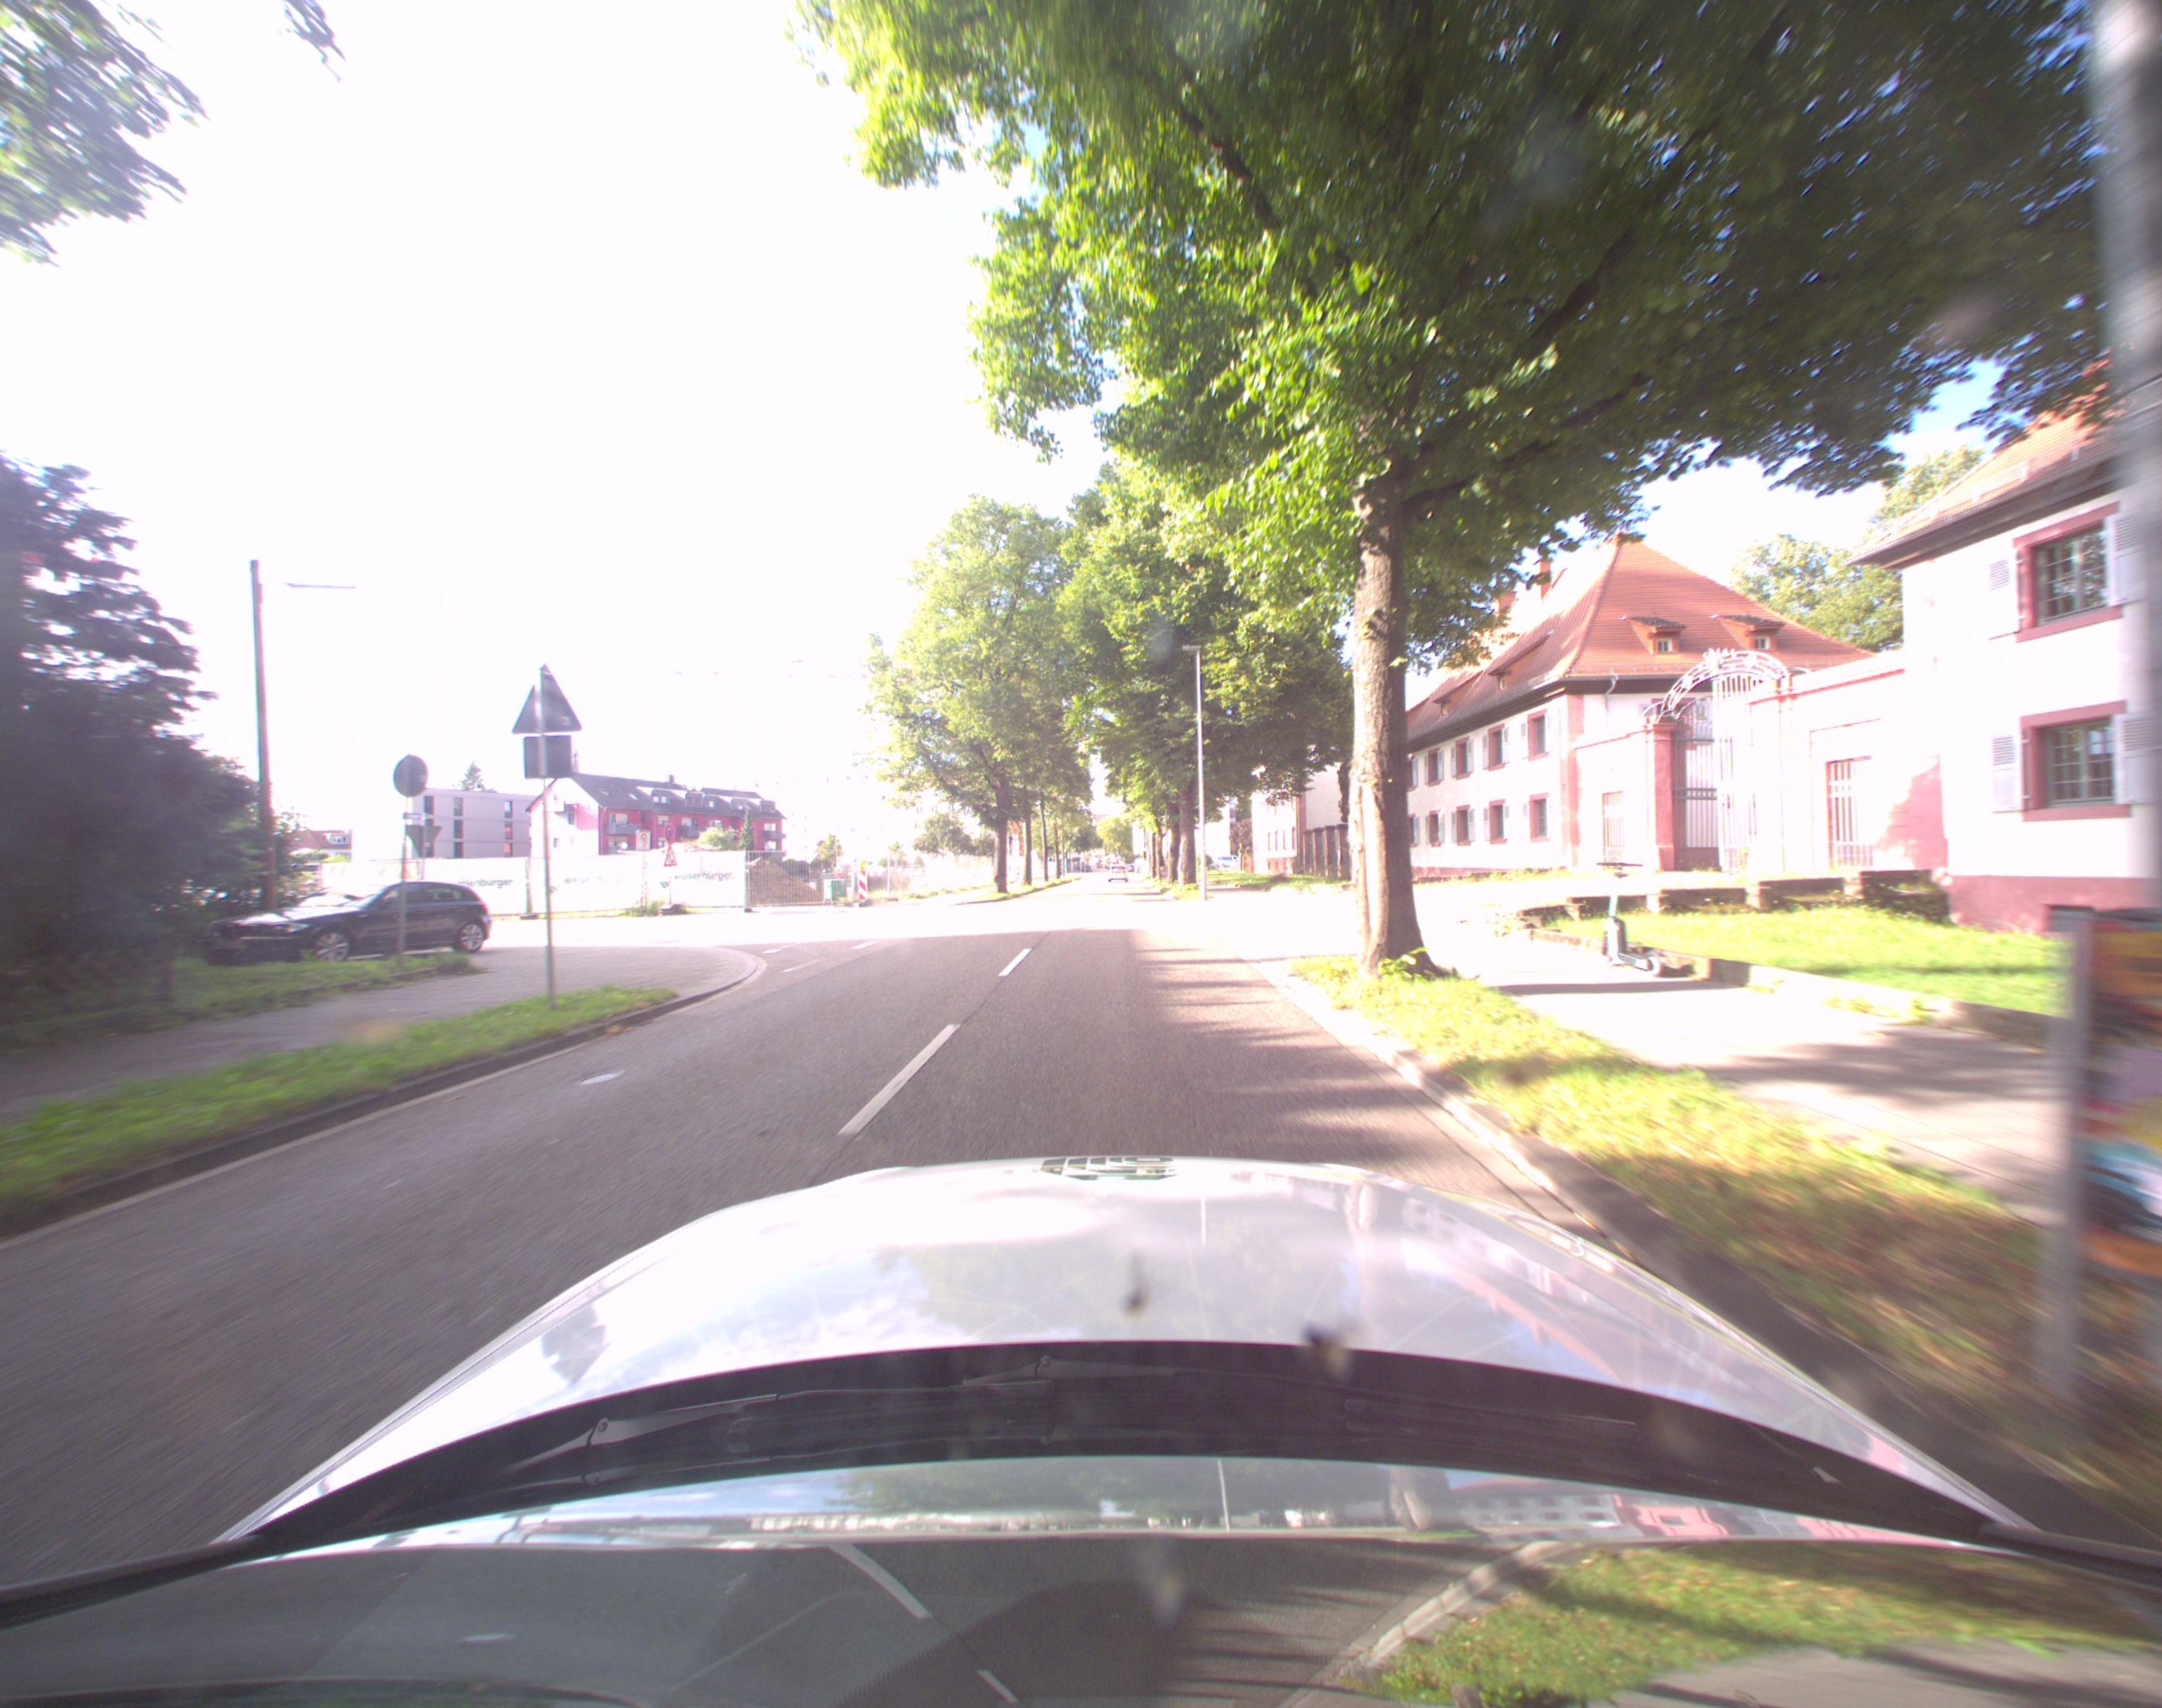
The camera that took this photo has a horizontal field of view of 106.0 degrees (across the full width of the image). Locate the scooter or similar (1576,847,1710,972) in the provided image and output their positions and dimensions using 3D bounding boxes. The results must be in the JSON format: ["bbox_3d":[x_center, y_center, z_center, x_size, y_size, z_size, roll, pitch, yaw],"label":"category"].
[{"bbox_3d":[6.321,0.587,9.246,0.576,1.291,1.383,-3,-1,4],"label":"scooter or similar"}]

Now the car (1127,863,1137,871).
[{"bbox_3d":[10.263,2.551,164.507,1.986,1.574,4.001,-2,-1,2],"label":"car"}]

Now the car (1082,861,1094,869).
[{"bbox_3d":[1.359,2.155,159.671,1.990,1.640,3.994,-2,-1,-4],"label":"car"}]

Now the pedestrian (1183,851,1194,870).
[{"bbox_3d":[9.044,0.550,68.549,0.811,1.590,0.769,-3,-1,1],"label":"pedestrian"}]

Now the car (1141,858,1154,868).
[{"bbox_3d":[10.489,1.470,128.773,2.007,1.475,4.806,-2,-1,3],"label":"car"}]

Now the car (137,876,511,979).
[{"bbox_3d":[-12.475,1.132,13.966,1.984,1.429,4.513,-2,-2,5],"label":"car"}]

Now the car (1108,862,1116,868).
[{"bbox_3d":[8.799,3.206,230.007,1.985,1.755,4.003,0,-1,3],"label":"car"}]

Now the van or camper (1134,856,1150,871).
[{"bbox_3d":[10.617,1.660,142.999,2.203,2.607,5.368,-2,-1,-1],"label":"van or camper"}]

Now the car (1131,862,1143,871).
[{"bbox_3d":[10.620,2.283,153.932,1.986,1.574,4.001,-2,-1,2],"label":"car"}]

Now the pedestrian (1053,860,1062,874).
[{"bbox_3d":[-3.114,1.688,106.100,1.007,1.728,1.174,0,-2,-10],"label":"pedestrian"}]

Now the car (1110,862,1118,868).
[{"bbox_3d":[8.810,2.917,217.883,1.985,1.755,4.003,0,-1,3],"label":"car"}]

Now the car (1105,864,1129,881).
[{"bbox_3d":[3.272,1.681,74.604,1.987,1.555,4.272,0,-1,-1],"label":"car"}]

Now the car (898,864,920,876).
[{"bbox_3d":[-29.557,2.721,140.141,1.978,2.014,4.018,-2,-1,17],"label":"car"}]

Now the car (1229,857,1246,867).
[{"bbox_3d":[25.292,1.276,131.461,1.987,1.442,3.999,-2,-1,0],"label":"car"}]
